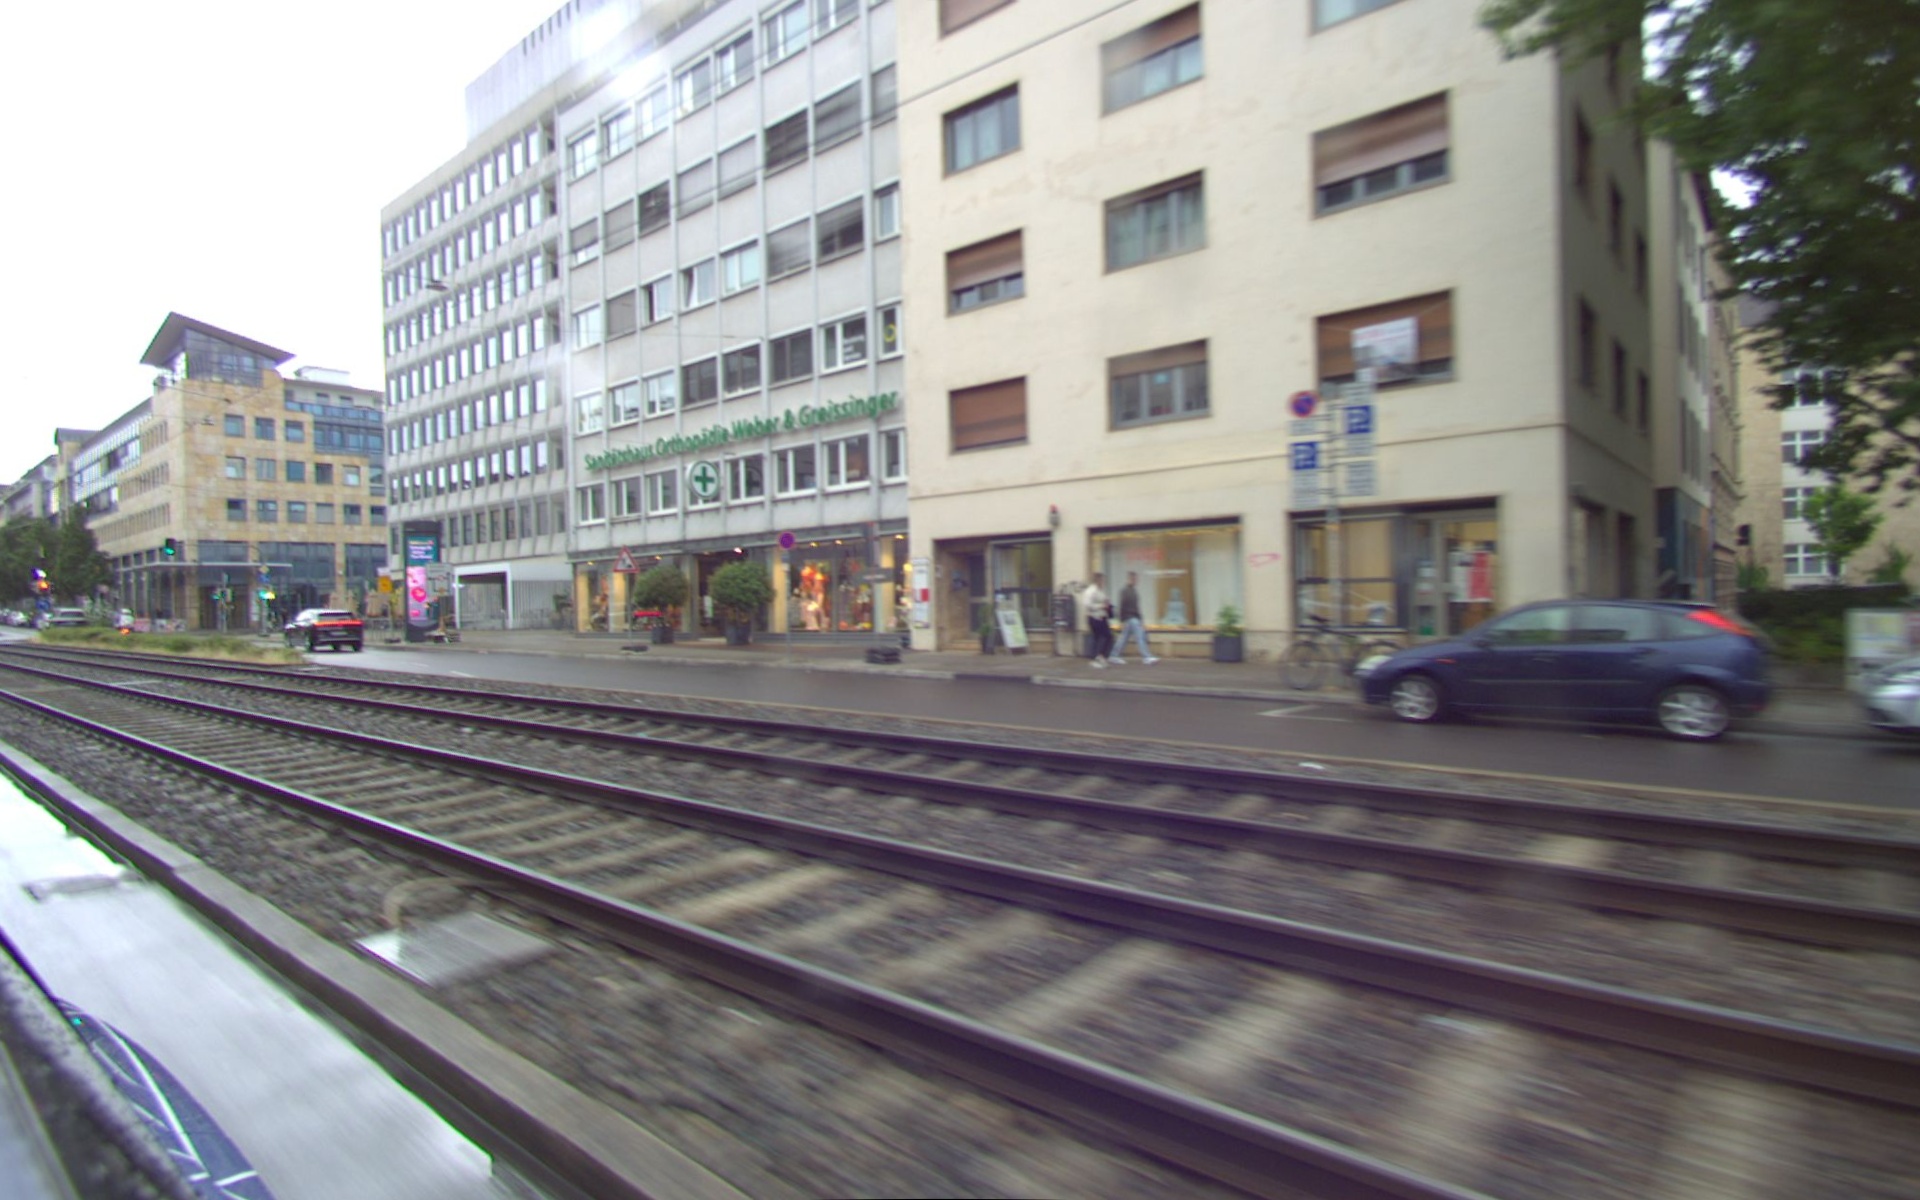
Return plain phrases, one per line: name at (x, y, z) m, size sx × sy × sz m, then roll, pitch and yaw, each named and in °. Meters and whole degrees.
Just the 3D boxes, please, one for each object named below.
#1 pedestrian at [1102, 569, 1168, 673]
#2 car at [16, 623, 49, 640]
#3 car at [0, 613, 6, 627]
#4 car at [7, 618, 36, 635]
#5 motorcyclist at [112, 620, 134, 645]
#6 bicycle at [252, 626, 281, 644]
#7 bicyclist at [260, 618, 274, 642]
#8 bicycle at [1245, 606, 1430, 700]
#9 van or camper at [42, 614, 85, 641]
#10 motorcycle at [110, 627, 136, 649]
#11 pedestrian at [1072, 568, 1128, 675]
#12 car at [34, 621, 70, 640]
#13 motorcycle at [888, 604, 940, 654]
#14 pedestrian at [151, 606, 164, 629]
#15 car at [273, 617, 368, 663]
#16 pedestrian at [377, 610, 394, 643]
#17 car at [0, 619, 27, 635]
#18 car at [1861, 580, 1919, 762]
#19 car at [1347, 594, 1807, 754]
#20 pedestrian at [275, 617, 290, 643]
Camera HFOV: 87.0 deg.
pedestrian at (3.289, 0.383, 19.039) m, size 0.982 × 1.910 × 0.720 m, roll -1°, pitch 0°, yaw 41°
car at (-86.493, 2.900, 94.361) m, size 3.996 × 1.497 × 1.672 m, roll -2°, pitch 0°, yaw 40°
car at (-107.806, 2.223, 112.866) m, size 4.620 × 1.552 × 1.632 m, roll 0°, pitch 0°, yaw 42°
car at (-90.334, 2.524, 97.419) m, size 4.191 × 1.509 × 1.632 m, roll 0°, pitch 0°, yaw 42°
motorcyclist at (-42.176, 1.648, 50.985) m, size 0.970 × 1.226 × 0.734 m, roll -1°, pitch 1°, yaw 43°
bicycle at (-53.614, 2.706, 78.259) m, size 0.659 × 1.321 × 1.746 m, roll -2°, pitch 0°, yaw 40°
bicyclist at (-53.608, 2.314, 78.311) m, size 0.783 × 1.818 × 0.701 m, roll -2°, pitch 0°, yaw 41°
bicycle at (5.357, 0.720, 14.453) m, size 2.397 × 1.236 × 0.586 m, roll -1°, pitch 1°, yaw 34°
van or camper at (-72.997, 2.199, 82.386) m, size 5.195 × 2.012 × 1.996 m, roll 0°, pitch 1°, yaw 41°
motorcycle at (-42.223, 1.914, 51.033) m, size 1.931 × 1.067 × 0.734 m, roll -1°, pitch 1°, yaw 43°
pedestrian at (2.570, 0.384, 18.565) m, size 0.742 × 1.910 × 0.671 m, roll -1°, pitch 0°, yaw 41°
car at (-78.651, 2.648, 87.638) m, size 4.252 × 1.497 × 1.672 m, roll -2°, pitch 0°, yaw 40°
motorcycle at (-1.135, 0.710, 25.303) m, size 0.385 × 1.189 × 1.462 m, roll -2°, pitch 0°, yaw 39°
pedestrian at (-64.066, 1.377, 80.820) m, size 0.679 × 1.828 × 0.693 m, roll -2°, pitch 0°, yaw 43°
car at (-23.817, 1.447, 37.645) m, size 4.445 × 1.530 × 1.971 m, roll -1°, pitch 0°, yaw 44°
pedestrian at (-32.773, 1.499, 57.722) m, size 0.843 × 1.836 × 0.559 m, roll -1°, pitch 0°, yaw 37°
car at (-94.373, 2.662, 100.904) m, size 4.291 × 1.509 × 1.632 m, roll 0°, pitch 0°, yaw 42°
car at (10.255, 0.578, 8.291) m, size 4.217 × 1.582 × 1.704 m, roll -1°, pitch 0°, yaw 41°
car at (6.815, 0.729, 11.459) m, size 4.217 × 1.480 × 1.726 m, roll -1°, pitch -1°, yaw 41°
pedestrian at (-48.502, 2.131, 72.451) m, size 0.667 × 1.794 × 0.705 m, roll -1°, pitch 0°, yaw -14°
